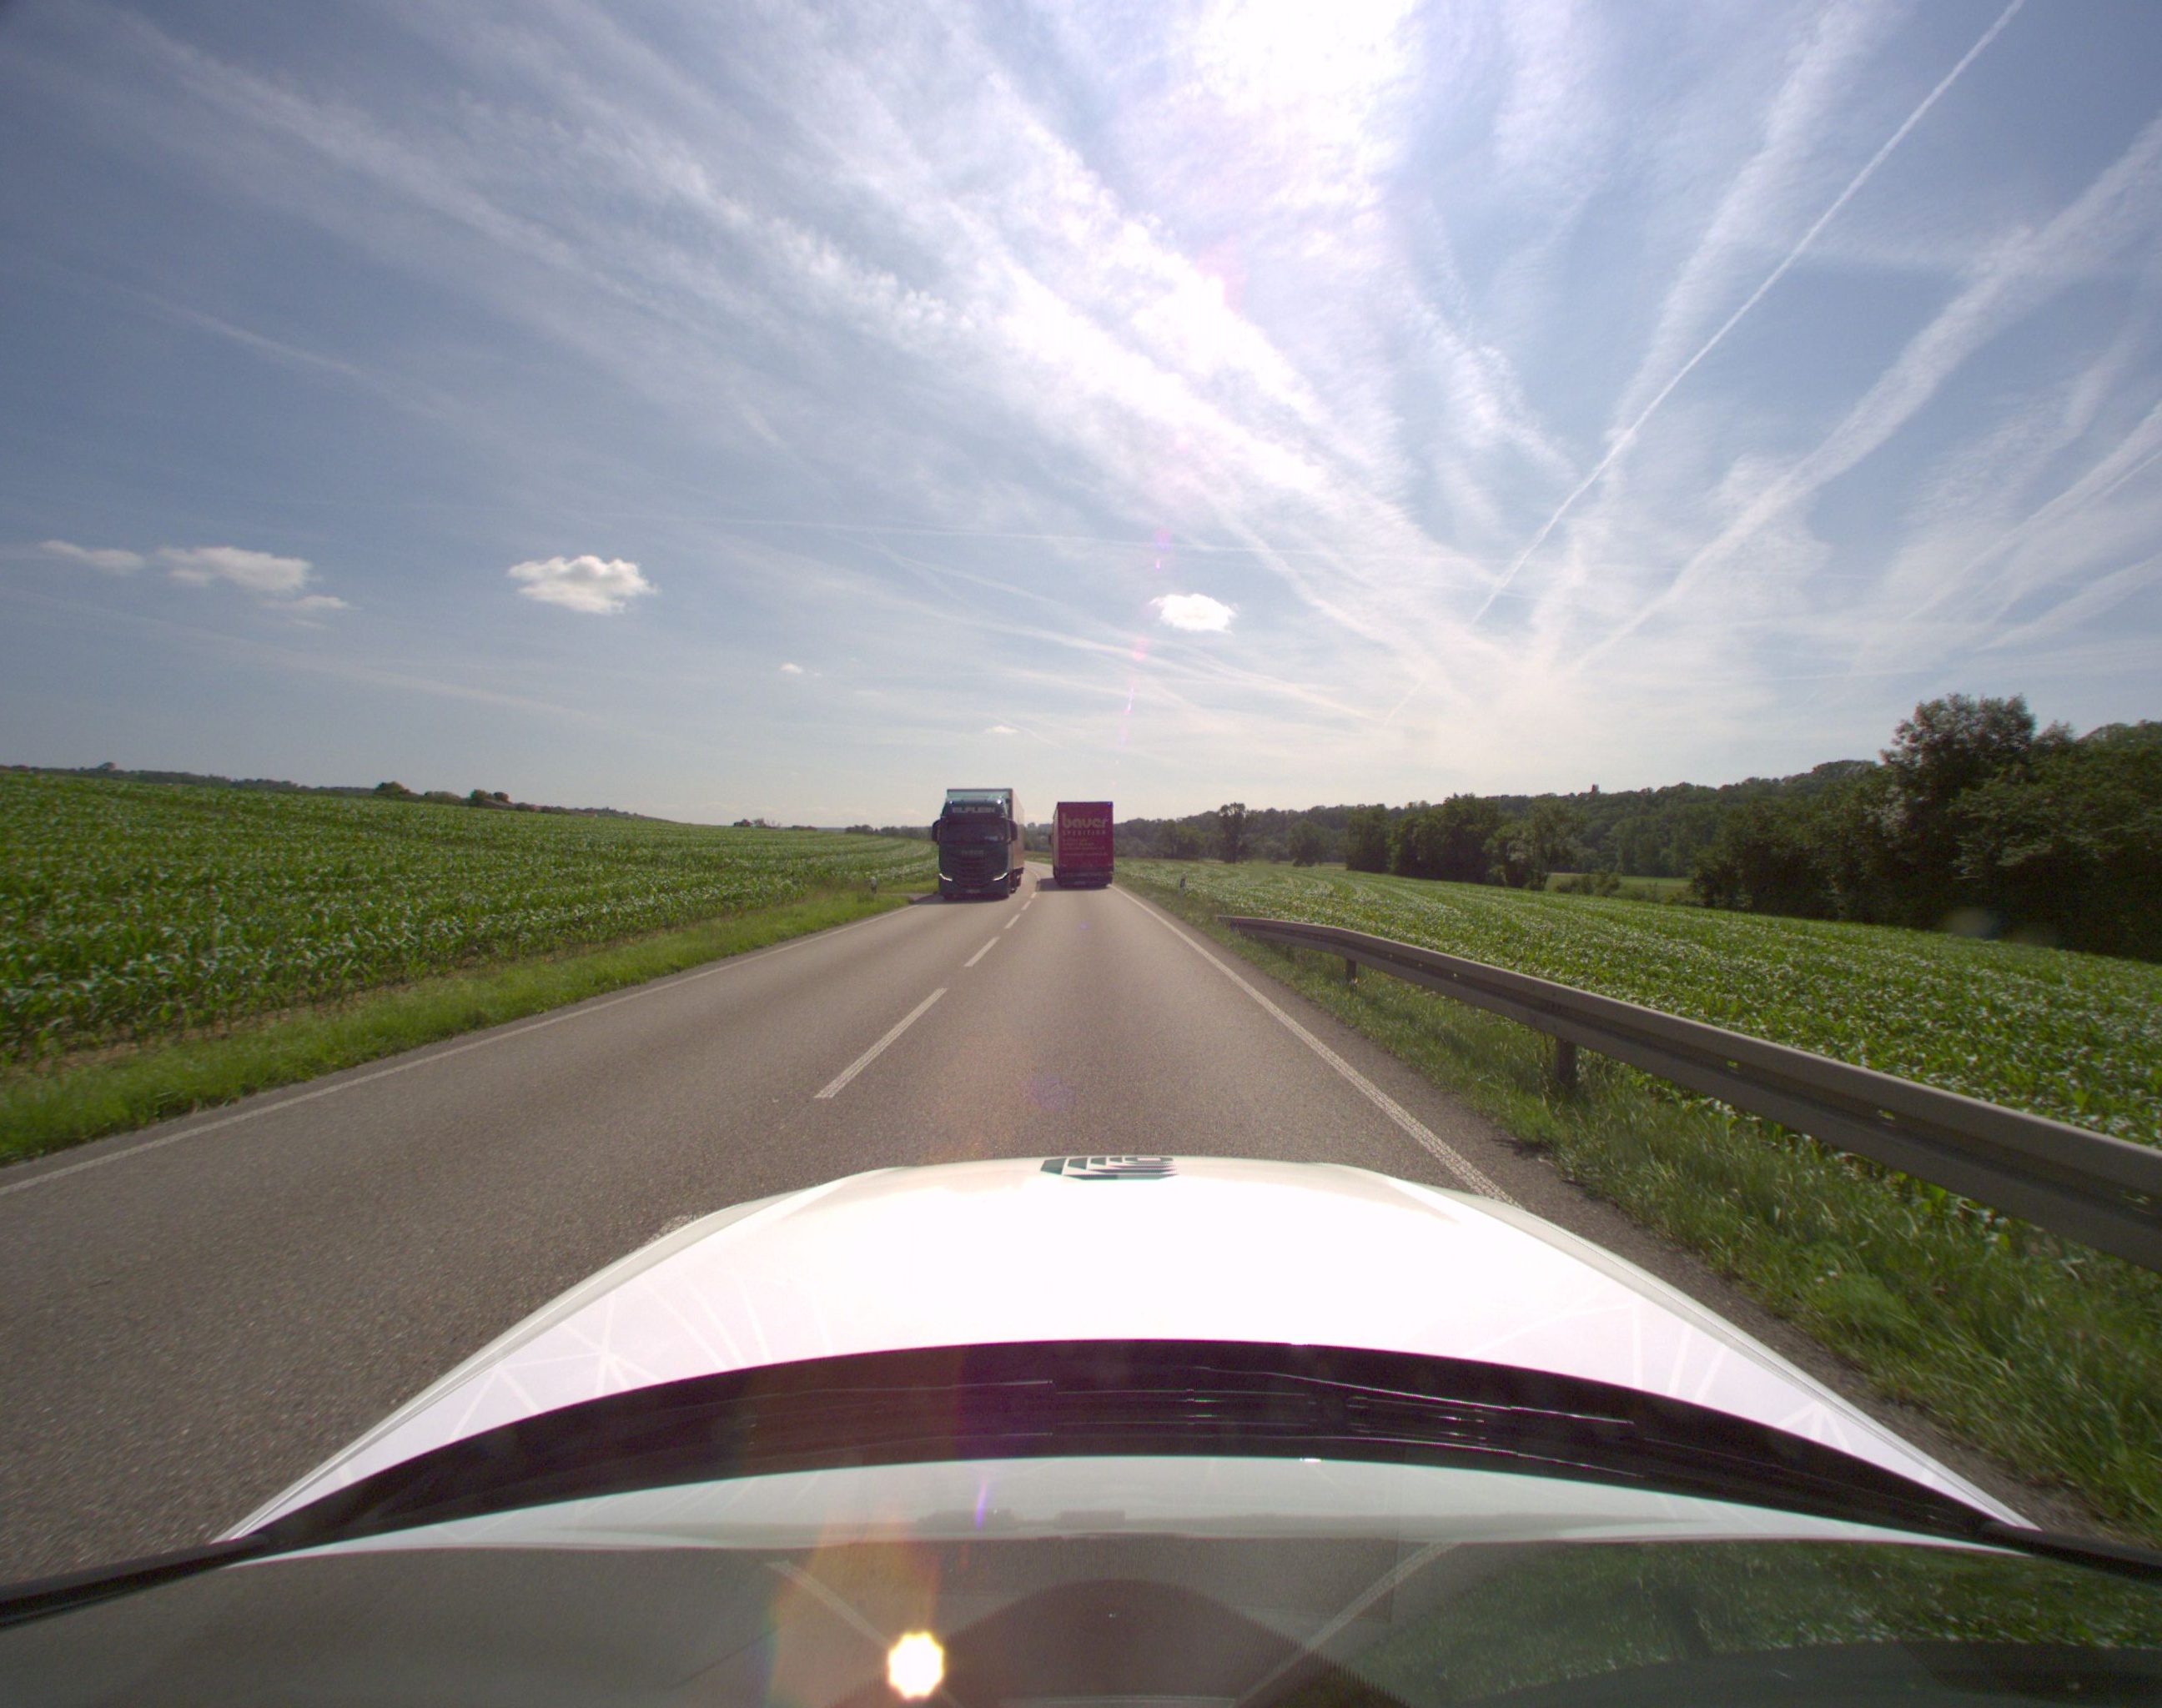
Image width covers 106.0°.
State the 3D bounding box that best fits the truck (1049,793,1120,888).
[{"bbox_3d":[0.001,-0.591,40.718,3.087,4.263,8.304,0,0,-3],"label":"truck"}]

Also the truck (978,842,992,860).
[{"bbox_3d":[-23.546,-0.714,198.801,2.825,3.992,16.487,-2,0,-8],"label":"truck"}]

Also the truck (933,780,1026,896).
[{"bbox_3d":[-4.064,-0.579,36.658,2.764,3.998,17.010,-1,0,-3],"label":"truck"}]
